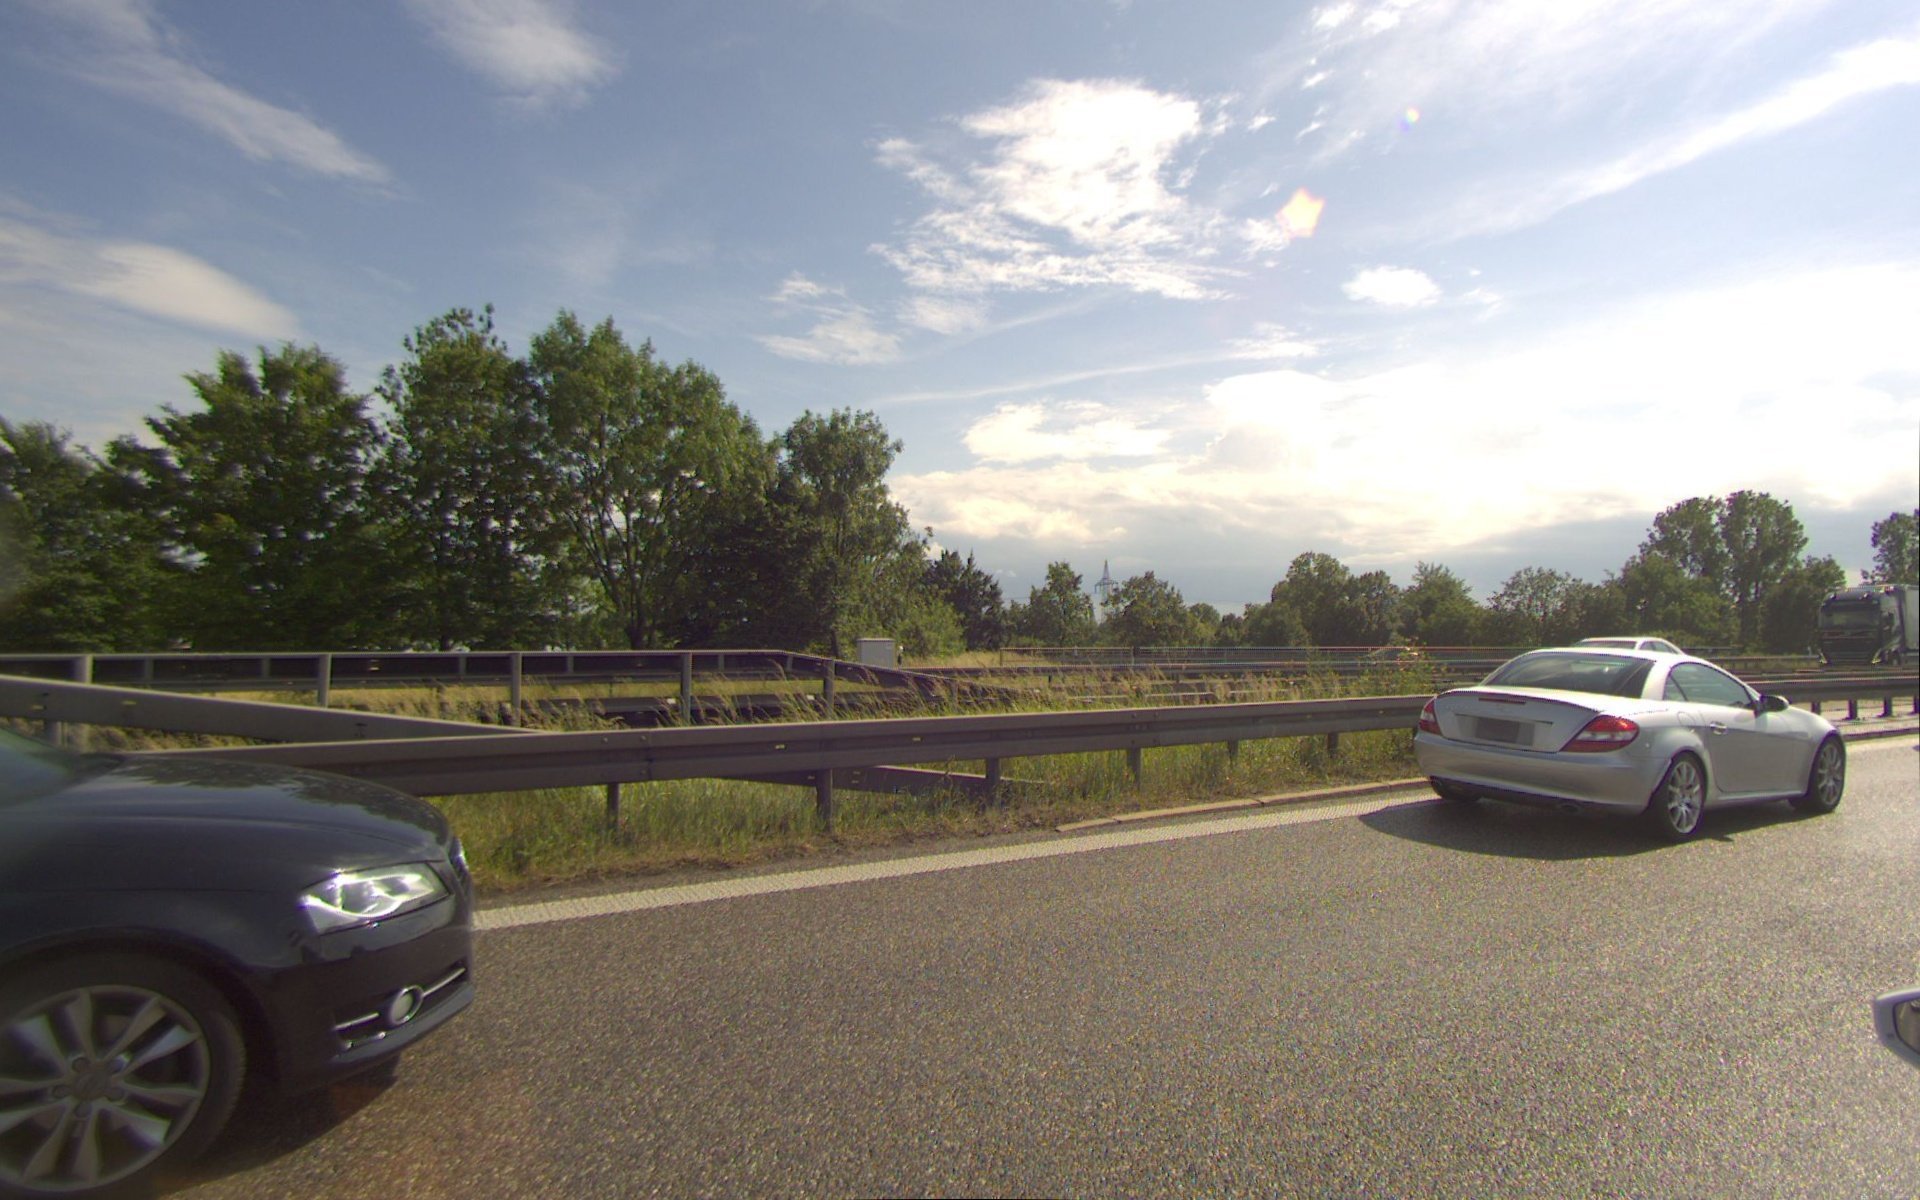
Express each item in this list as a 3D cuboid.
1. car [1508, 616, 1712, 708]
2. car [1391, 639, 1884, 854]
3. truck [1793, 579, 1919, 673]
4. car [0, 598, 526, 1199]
[{"bbox_3d":[13.753,1.280,21.228,4.158,1.752,1.984,3,-2,-30],"label":"car"},{"bbox_3d":[5.496,0.987,8.051,4.016,1.295,1.716,1,-1,-30],"label":"car"},{"bbox_3d":[42.955,1.304,47.556,7.597,4.157,2.991,2,-2,-31],"label":"truck"},{"bbox_3d":[-3.407,0.711,2.540,4.088,1.444,1.759,2,0,-29],"label":"car"}]
